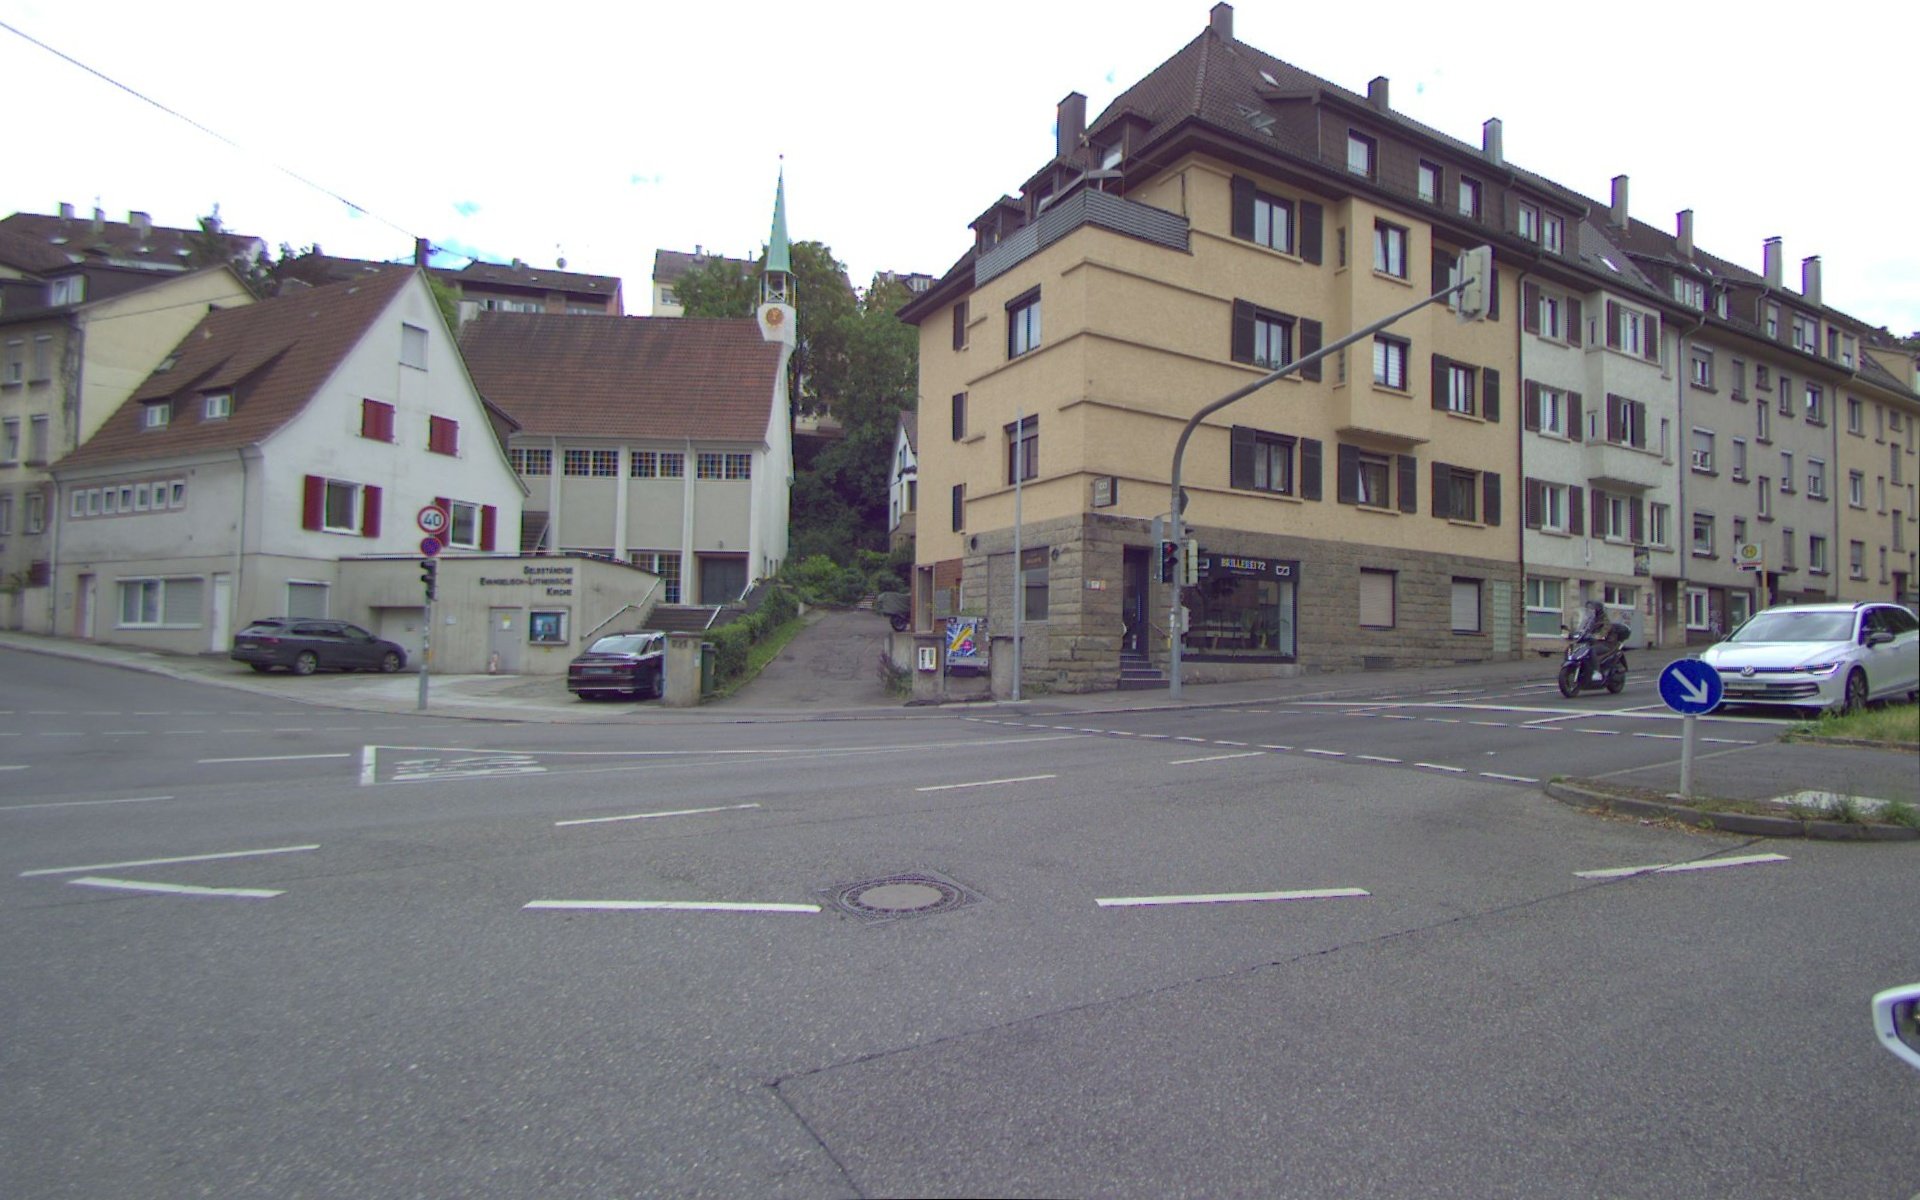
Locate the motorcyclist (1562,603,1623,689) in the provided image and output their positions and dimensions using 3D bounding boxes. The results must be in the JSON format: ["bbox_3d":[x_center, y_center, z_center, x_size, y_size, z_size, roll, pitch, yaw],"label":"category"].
[{"bbox_3d":[11.248,0.801,17.881,0.654,1.495,0.670,0,-1,-28],"label":"motorcyclist"}]

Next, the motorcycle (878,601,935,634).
[{"bbox_3d":[-1.932,0.627,36.409,2.021,1.149,0.556,0,0,-29],"label":"motorcycle"}]

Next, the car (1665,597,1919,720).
[{"bbox_3d":[12.119,0.737,14.271,4.532,1.486,1.737,-1,-1,-31],"label":"car"}]

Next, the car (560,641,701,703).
[{"bbox_3d":[-7.786,1.665,24.157,1.799,1.205,4.002,0,0,5],"label":"car"}]

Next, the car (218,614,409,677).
[{"bbox_3d":[-17.679,1.179,27.721,1.649,1.485,4.300,3,1,18],"label":"car"}]

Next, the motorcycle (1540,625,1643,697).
[{"bbox_3d":[11.215,1.049,17.815,2.178,1.200,0.542,0,-1,-29],"label":"motorcycle"}]
